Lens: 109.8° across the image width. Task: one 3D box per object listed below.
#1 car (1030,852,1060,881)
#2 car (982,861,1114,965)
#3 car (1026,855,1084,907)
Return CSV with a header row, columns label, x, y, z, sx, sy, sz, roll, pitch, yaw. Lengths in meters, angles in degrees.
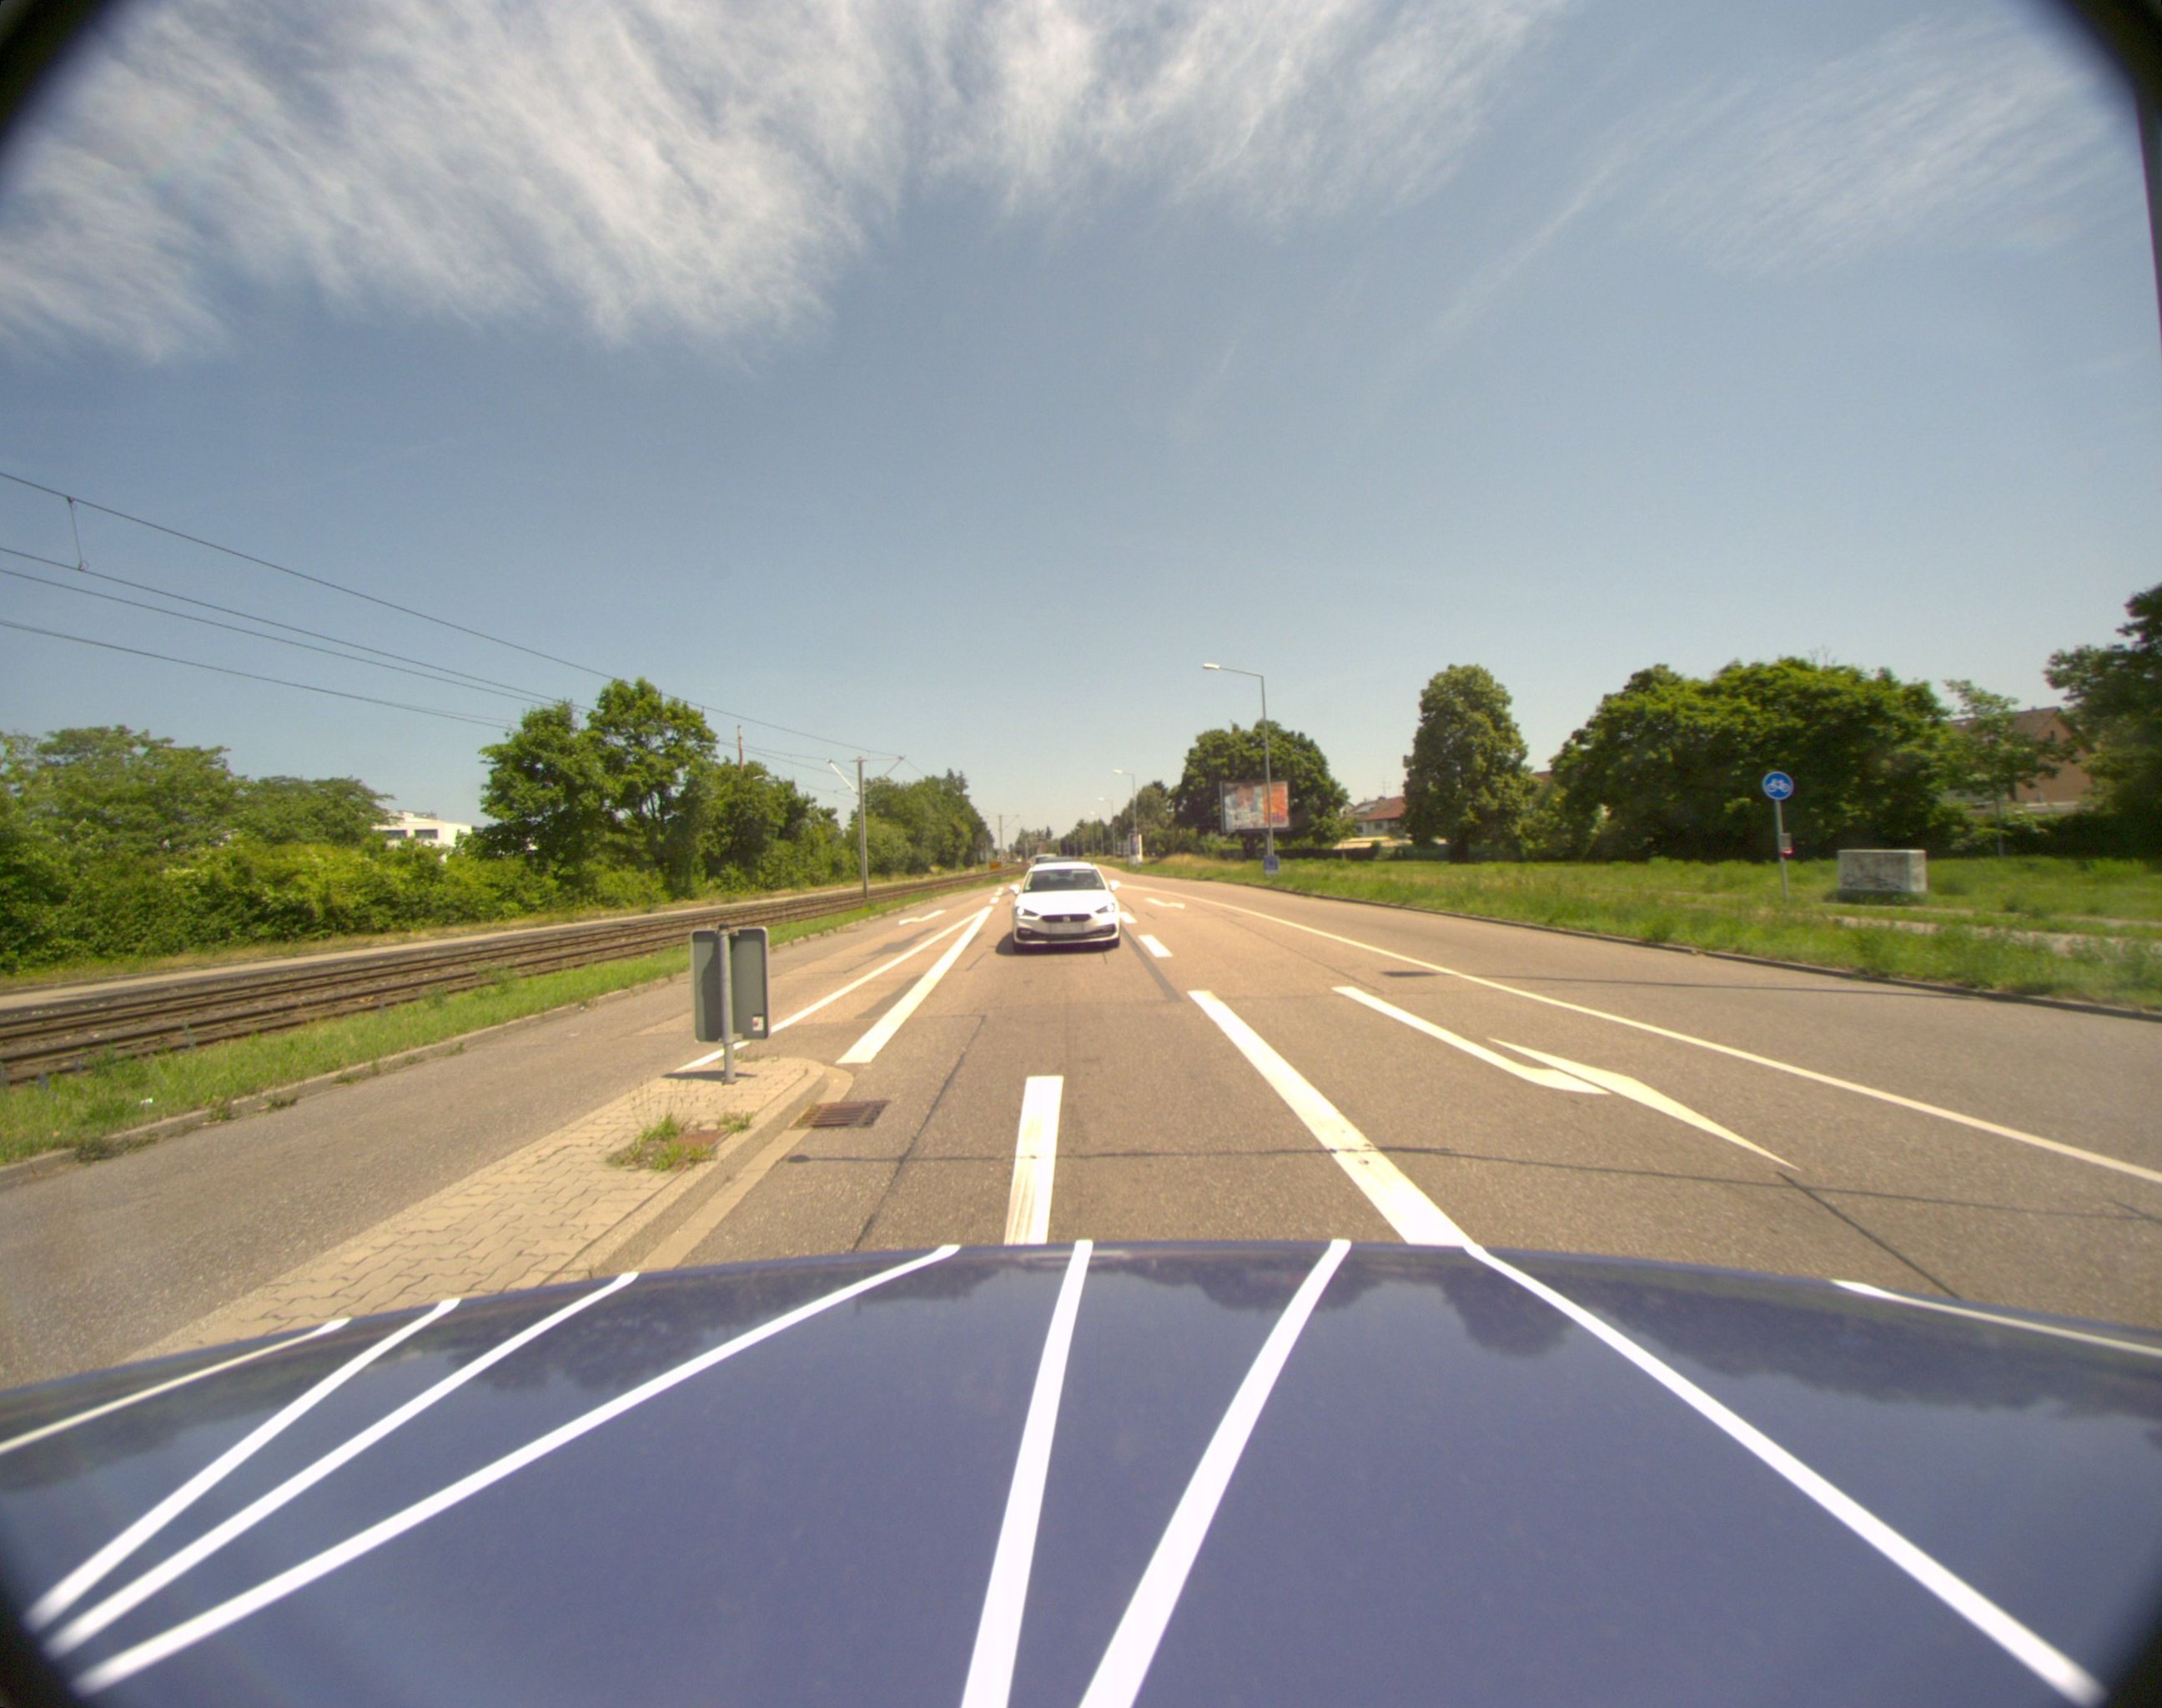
label,x,y,z,sx,sy,sz,roll,pitch,yaw
car,-2.447,0.847,52.618,1.780,1.865,4.000,-2,0,1
car,-0.438,0.935,13.911,1.954,1.467,4.362,-3,0,2
car,-0.832,0.885,26.767,1.780,1.628,4.000,-2,0,1
